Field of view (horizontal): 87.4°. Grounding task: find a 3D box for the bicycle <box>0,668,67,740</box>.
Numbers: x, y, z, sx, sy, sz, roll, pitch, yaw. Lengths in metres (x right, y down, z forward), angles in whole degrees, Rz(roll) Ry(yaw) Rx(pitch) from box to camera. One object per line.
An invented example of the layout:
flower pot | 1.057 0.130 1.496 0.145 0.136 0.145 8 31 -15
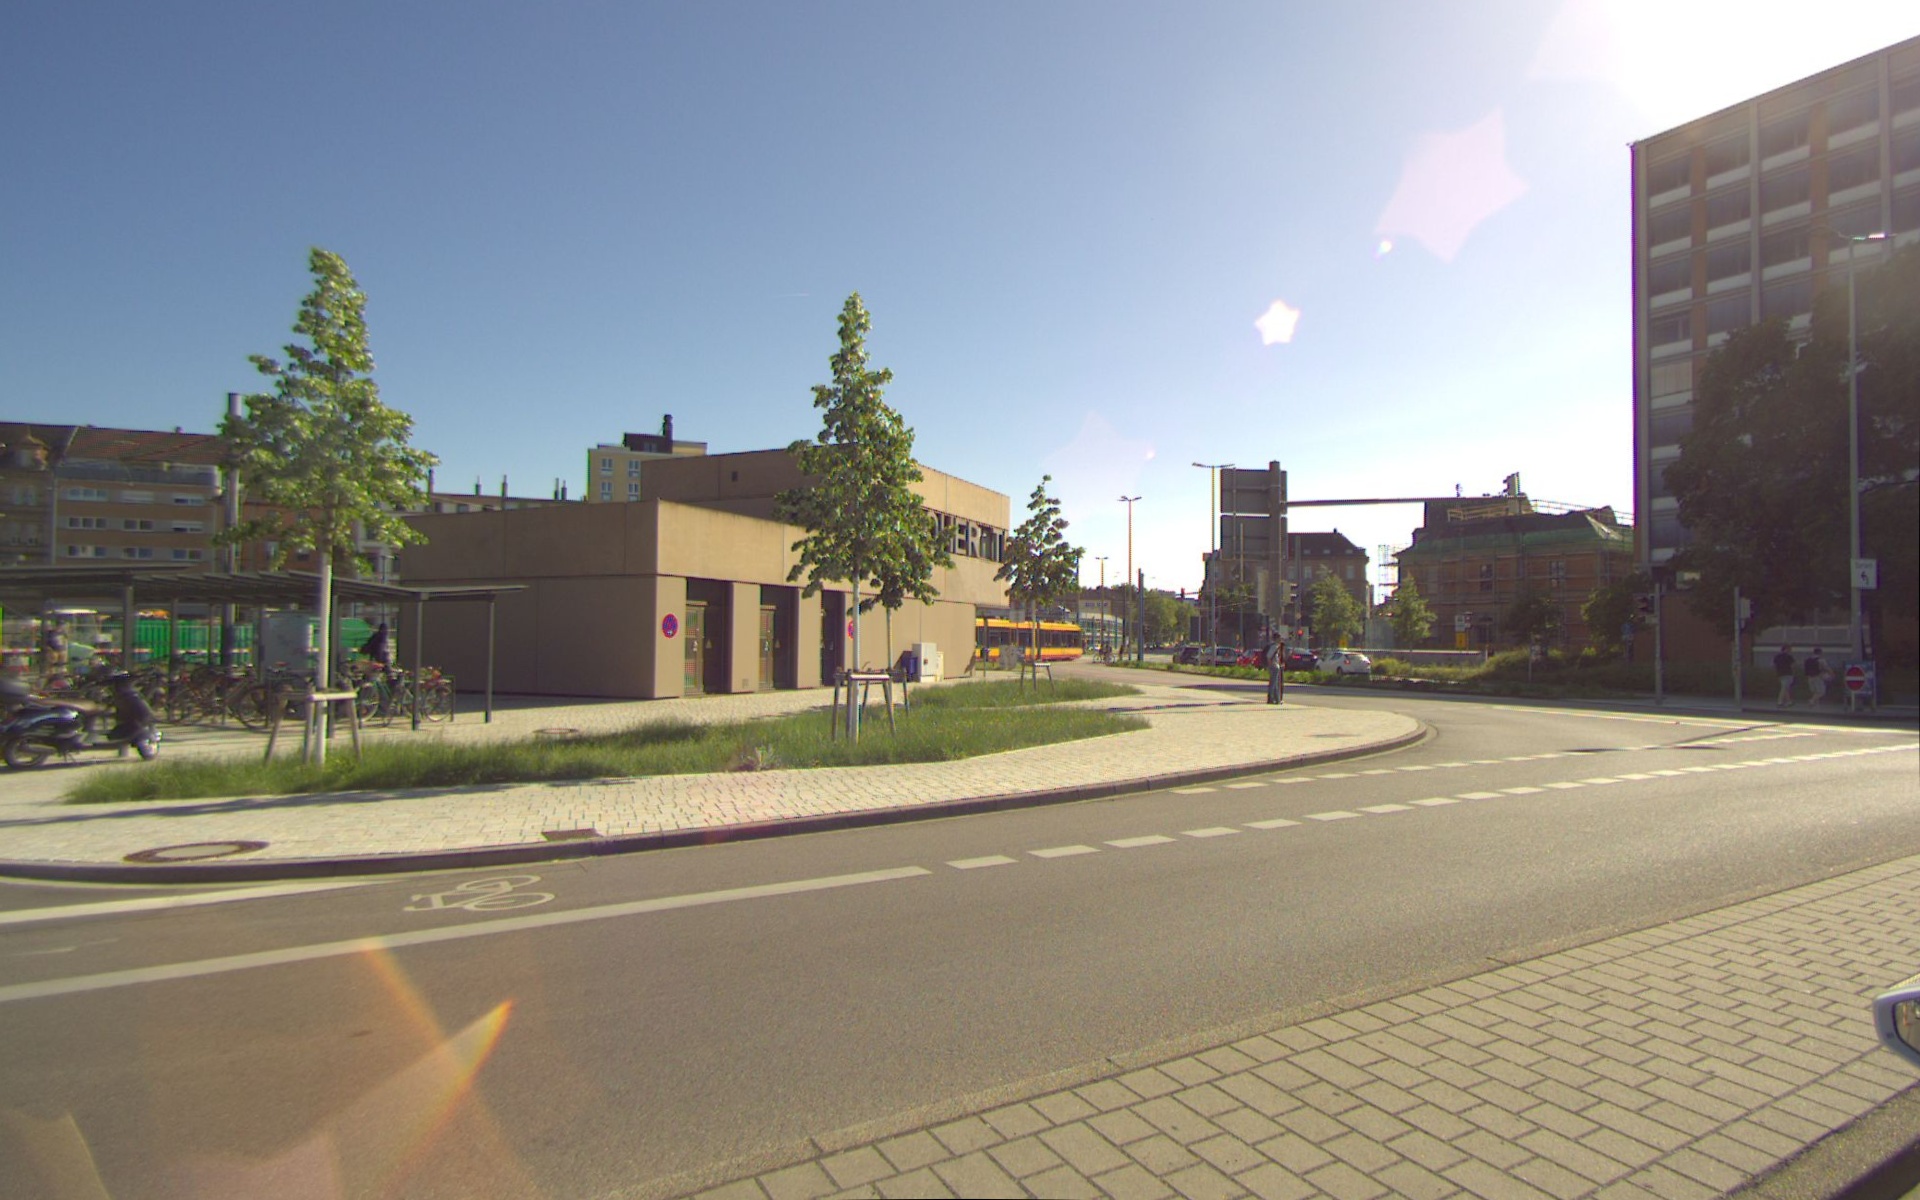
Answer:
bicycle | -14.155 1.512 14.445 0.449 1.022 1.902 0 -2 26

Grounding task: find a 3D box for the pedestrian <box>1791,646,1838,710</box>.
pedestrian | 23.946 2.164 28.158 0.748 1.753 0.680 1 -2 -16

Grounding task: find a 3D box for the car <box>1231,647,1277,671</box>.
car | 20.215 4.036 69.248 1.760 1.528 3.880 1 -2 -6

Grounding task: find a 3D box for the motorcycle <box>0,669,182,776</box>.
motorcycle | -10.916 1.479 12.469 0.508 1.166 1.947 0 -2 25

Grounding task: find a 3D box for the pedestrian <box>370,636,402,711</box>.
pedestrian | -16.004 2.038 28.008 0.710 2.040 0.682 2 -3 -30

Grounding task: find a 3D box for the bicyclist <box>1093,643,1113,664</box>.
bicyclist | 12.068 4.503 84.906 1.544 1.655 0.811 2 0 13

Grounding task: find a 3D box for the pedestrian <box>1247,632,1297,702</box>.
pedestrian | 7.892 1.684 25.409 1.044 1.753 0.652 1 -2 -16

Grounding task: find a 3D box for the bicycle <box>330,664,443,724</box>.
bicycle | -10.703 1.737 18.818 0.449 1.022 1.902 0 -2 26

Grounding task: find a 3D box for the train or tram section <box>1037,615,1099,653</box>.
train or tram section | 10.239 3.138 94.204 2.649 3.275 10.595 2 0 24

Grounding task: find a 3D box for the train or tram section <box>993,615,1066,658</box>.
train or tram section | 6.008 2.962 84.556 2.649 3.275 10.595 2 0 24

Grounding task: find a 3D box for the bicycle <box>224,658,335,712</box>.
bicycle | -14.069 1.732 20.828 0.449 1.022 1.902 0 -2 26

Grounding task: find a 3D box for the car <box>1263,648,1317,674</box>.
car | 20.585 3.771 62.788 1.760 1.528 3.880 1 -2 -6

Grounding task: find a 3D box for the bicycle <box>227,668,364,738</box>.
bicycle | -10.907 1.666 16.569 0.449 1.022 1.902 0 -2 26

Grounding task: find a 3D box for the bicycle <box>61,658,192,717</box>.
bicycle | -15.913 1.647 19.239 0.449 1.022 1.902 0 -2 26

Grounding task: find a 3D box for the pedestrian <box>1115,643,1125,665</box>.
pedestrian | 13.132 4.388 82.330 0.761 1.786 0.706 0 -2 5

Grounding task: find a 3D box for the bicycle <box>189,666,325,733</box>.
bicycle | -11.885 1.655 17.058 0.449 1.022 1.902 0 -2 26

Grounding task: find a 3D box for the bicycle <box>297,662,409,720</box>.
bicycle | -11.793 1.747 19.576 0.449 1.022 1.902 0 -2 26

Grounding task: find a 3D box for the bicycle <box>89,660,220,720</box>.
bicycle | -15.077 1.659 18.864 0.449 1.022 1.902 0 -2 26

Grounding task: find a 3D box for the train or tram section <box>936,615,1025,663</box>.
train or tram section | 1.710 2.793 74.828 2.649 3.275 10.595 2 0 24

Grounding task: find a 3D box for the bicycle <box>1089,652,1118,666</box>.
bicycle | 12.112 4.962 84.900 2.370 1.076 0.811 2 0 13

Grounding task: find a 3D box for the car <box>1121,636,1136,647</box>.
car | 34.161 8.332 203.401 1.961 2.040 3.998 2 0 23

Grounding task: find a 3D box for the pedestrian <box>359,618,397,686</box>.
pedestrian | -16.270 1.439 28.073 0.555 1.858 0.683 0 -2 27

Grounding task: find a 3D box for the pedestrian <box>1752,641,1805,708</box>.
pedestrian | 23.785 2.146 29.191 0.895 1.887 0.813 1 -2 -16

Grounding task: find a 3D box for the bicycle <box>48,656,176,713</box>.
bicycle | -16.696 1.642 19.838 0.449 1.022 1.902 0 -2 26

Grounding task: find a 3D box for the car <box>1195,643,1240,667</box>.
car | 17.467 3.698 68.269 1.760 1.528 3.880 1 -2 -6

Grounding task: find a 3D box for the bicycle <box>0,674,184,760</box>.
bicycle | -11.811 1.559 13.722 0.449 1.022 1.902 0 -2 26

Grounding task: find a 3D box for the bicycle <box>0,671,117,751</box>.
bicycle | -13.025 1.540 14.014 0.449 1.022 1.902 0 -2 26

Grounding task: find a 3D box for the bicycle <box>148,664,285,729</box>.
bicycle | -12.895 1.652 17.489 0.449 1.022 1.902 0 -2 26

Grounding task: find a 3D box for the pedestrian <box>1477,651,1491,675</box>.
pedestrian | 38.062 4.572 72.923 0.754 1.753 0.675 2 -2 -39

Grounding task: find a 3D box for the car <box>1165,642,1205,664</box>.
car | 16.786 3.934 74.996 1.760 1.528 3.880 1 -2 -6

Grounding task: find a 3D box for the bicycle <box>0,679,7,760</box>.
bicycle | -12.742 1.488 12.002 0.449 1.022 1.902 0 -2 26

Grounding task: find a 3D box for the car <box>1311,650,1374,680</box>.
car | 21.257 3.597 55.932 1.760 1.528 3.880 1 -2 -6

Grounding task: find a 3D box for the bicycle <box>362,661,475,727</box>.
bicycle | -9.923 1.700 18.489 0.449 1.112 1.902 0 -2 26
